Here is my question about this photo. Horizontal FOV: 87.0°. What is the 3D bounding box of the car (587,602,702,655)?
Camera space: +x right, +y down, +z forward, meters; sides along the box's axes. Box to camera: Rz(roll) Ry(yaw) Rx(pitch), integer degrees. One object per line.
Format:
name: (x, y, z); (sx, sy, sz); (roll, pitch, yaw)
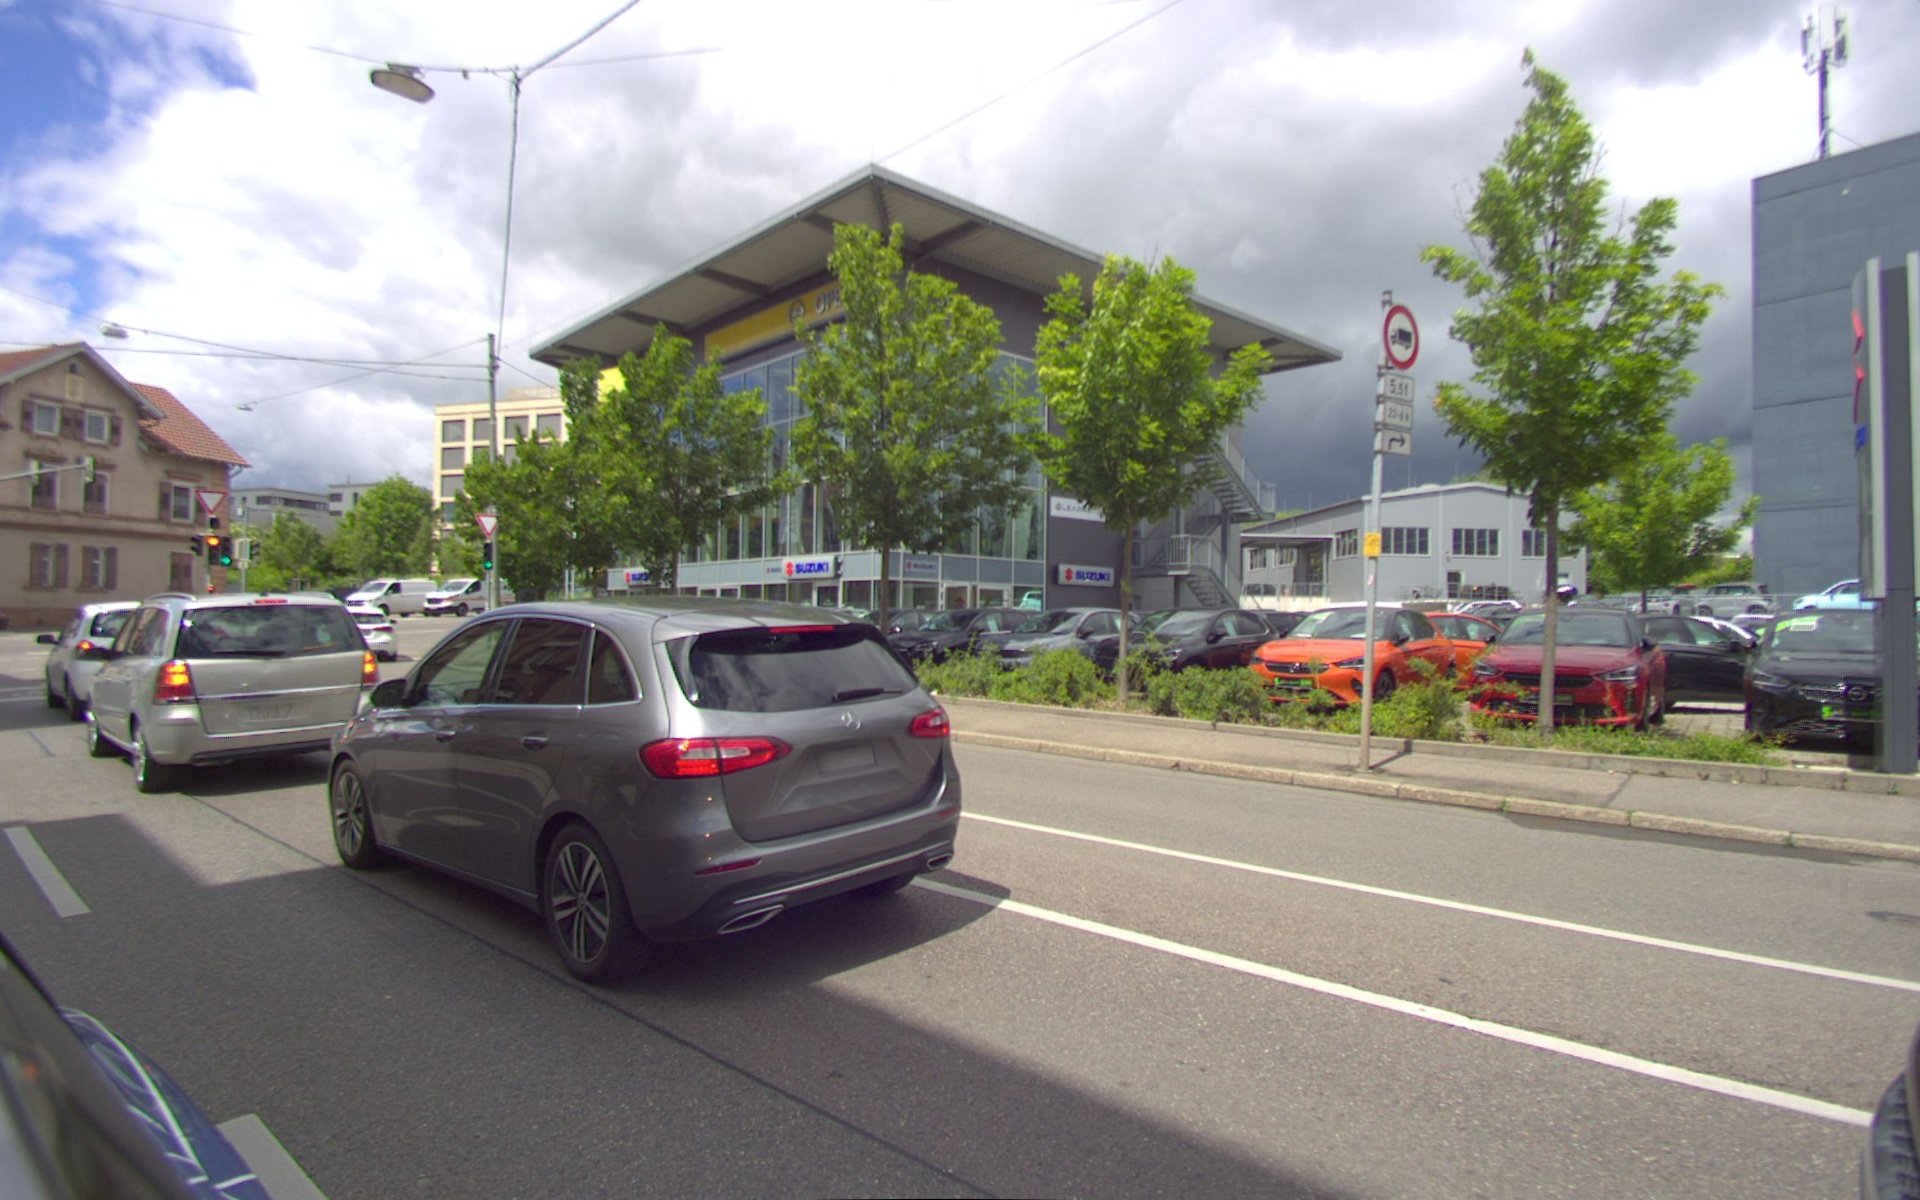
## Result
car: (-10.524, 0.880, 33.594); (1.920, 1.574, 4.309); (-1, 1, -44)

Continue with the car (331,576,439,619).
car: (-29.455, -0.192, 52.026); (1.983, 2.026, 4.791); (-1, 2, 17)

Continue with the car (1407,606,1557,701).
car: (8.630, 0.850, 16.625); (1.516, 1.384, 3.282); (-2, -3, 40)

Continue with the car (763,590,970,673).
car: (-1.815, 0.653, 20.727); (1.811, 1.509, 4.163); (-2, -3, 41)

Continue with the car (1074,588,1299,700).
car: (3.629, 0.668, 15.772); (1.811, 1.509, 3.940); (-2, -3, 40)

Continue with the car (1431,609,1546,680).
car: (11.392, 0.940, 21.720); (1.516, 1.384, 3.282); (-2, -3, 40)

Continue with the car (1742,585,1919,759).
car: (9.289, 0.684, 10.474); (1.810, 1.509, 3.778); (-2, -3, 37)

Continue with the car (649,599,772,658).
car: (-7.478, 0.795, 30.154); (1.919, 1.574, 4.001); (-1, 1, -42)

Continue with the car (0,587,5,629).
car: (-34.919, 0.364, 33.566); (1.982, 1.477, 4.309); (-1, 2, 16)

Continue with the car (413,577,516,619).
car: (-25.806, -0.161, 52.926); (1.982, 2.007, 4.965); (-1, 2, 16)

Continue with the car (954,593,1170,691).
car: (1.887, 0.728, 17.757); (1.811, 1.509, 4.013); (-2, -3, 41)

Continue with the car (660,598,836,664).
car: (-5.192, 0.781, 25.078); (1.813, 1.509, 3.942); (-2, -3, 44)

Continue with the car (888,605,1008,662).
car: (-0.276, 0.865, 26.293); (1.517, 1.384, 2.979); (-2, -3, 41)

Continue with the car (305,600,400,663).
car: (-16.370, 0.809, 27.155); (1.696, 1.508, 4.473); (3, -1, -37)

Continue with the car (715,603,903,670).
car: (-3.387, 0.839, 23.215); (1.813, 1.405, 4.021); (-2, -3, 44)

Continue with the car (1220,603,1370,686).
car: (6.231, 0.802, 18.651); (1.516, 1.384, 3.282); (-2, -3, 40)

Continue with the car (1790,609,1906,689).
car: (16.828, 0.911, 19.275); (1.516, 1.384, 3.282); (-2, -3, 40)

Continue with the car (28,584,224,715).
car: (-11.992, 0.593, 14.466); (4.001, 1.593, 1.700); (0, 1, 44)

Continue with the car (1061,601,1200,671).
car: (3.716, 0.777, 21.765); (1.516, 1.384, 3.282); (-2, -3, 40)

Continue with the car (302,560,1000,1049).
car: (-1.937, 0.643, 5.389); (4.252, 1.593, 1.700); (0, 1, 44)

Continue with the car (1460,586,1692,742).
car: (7.341, 0.694, 11.905); (1.811, 1.509, 3.810); (-2, -3, 39)

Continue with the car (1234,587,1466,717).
car: (5.410, 0.678, 13.791); (1.811, 1.509, 3.787); (-2, -3, 40)

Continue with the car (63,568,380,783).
car: (-7.145, 0.534, 9.609); (4.319, 1.593, 1.700); (0, 1, 44)

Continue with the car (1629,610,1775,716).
car: (10.970, 0.879, 14.883); (1.516, 1.384, 3.282); (-2, -3, 40)

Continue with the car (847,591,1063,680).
car: (0.005, 0.673, 19.309); (1.811, 1.509, 4.234); (-2, -3, 41)
